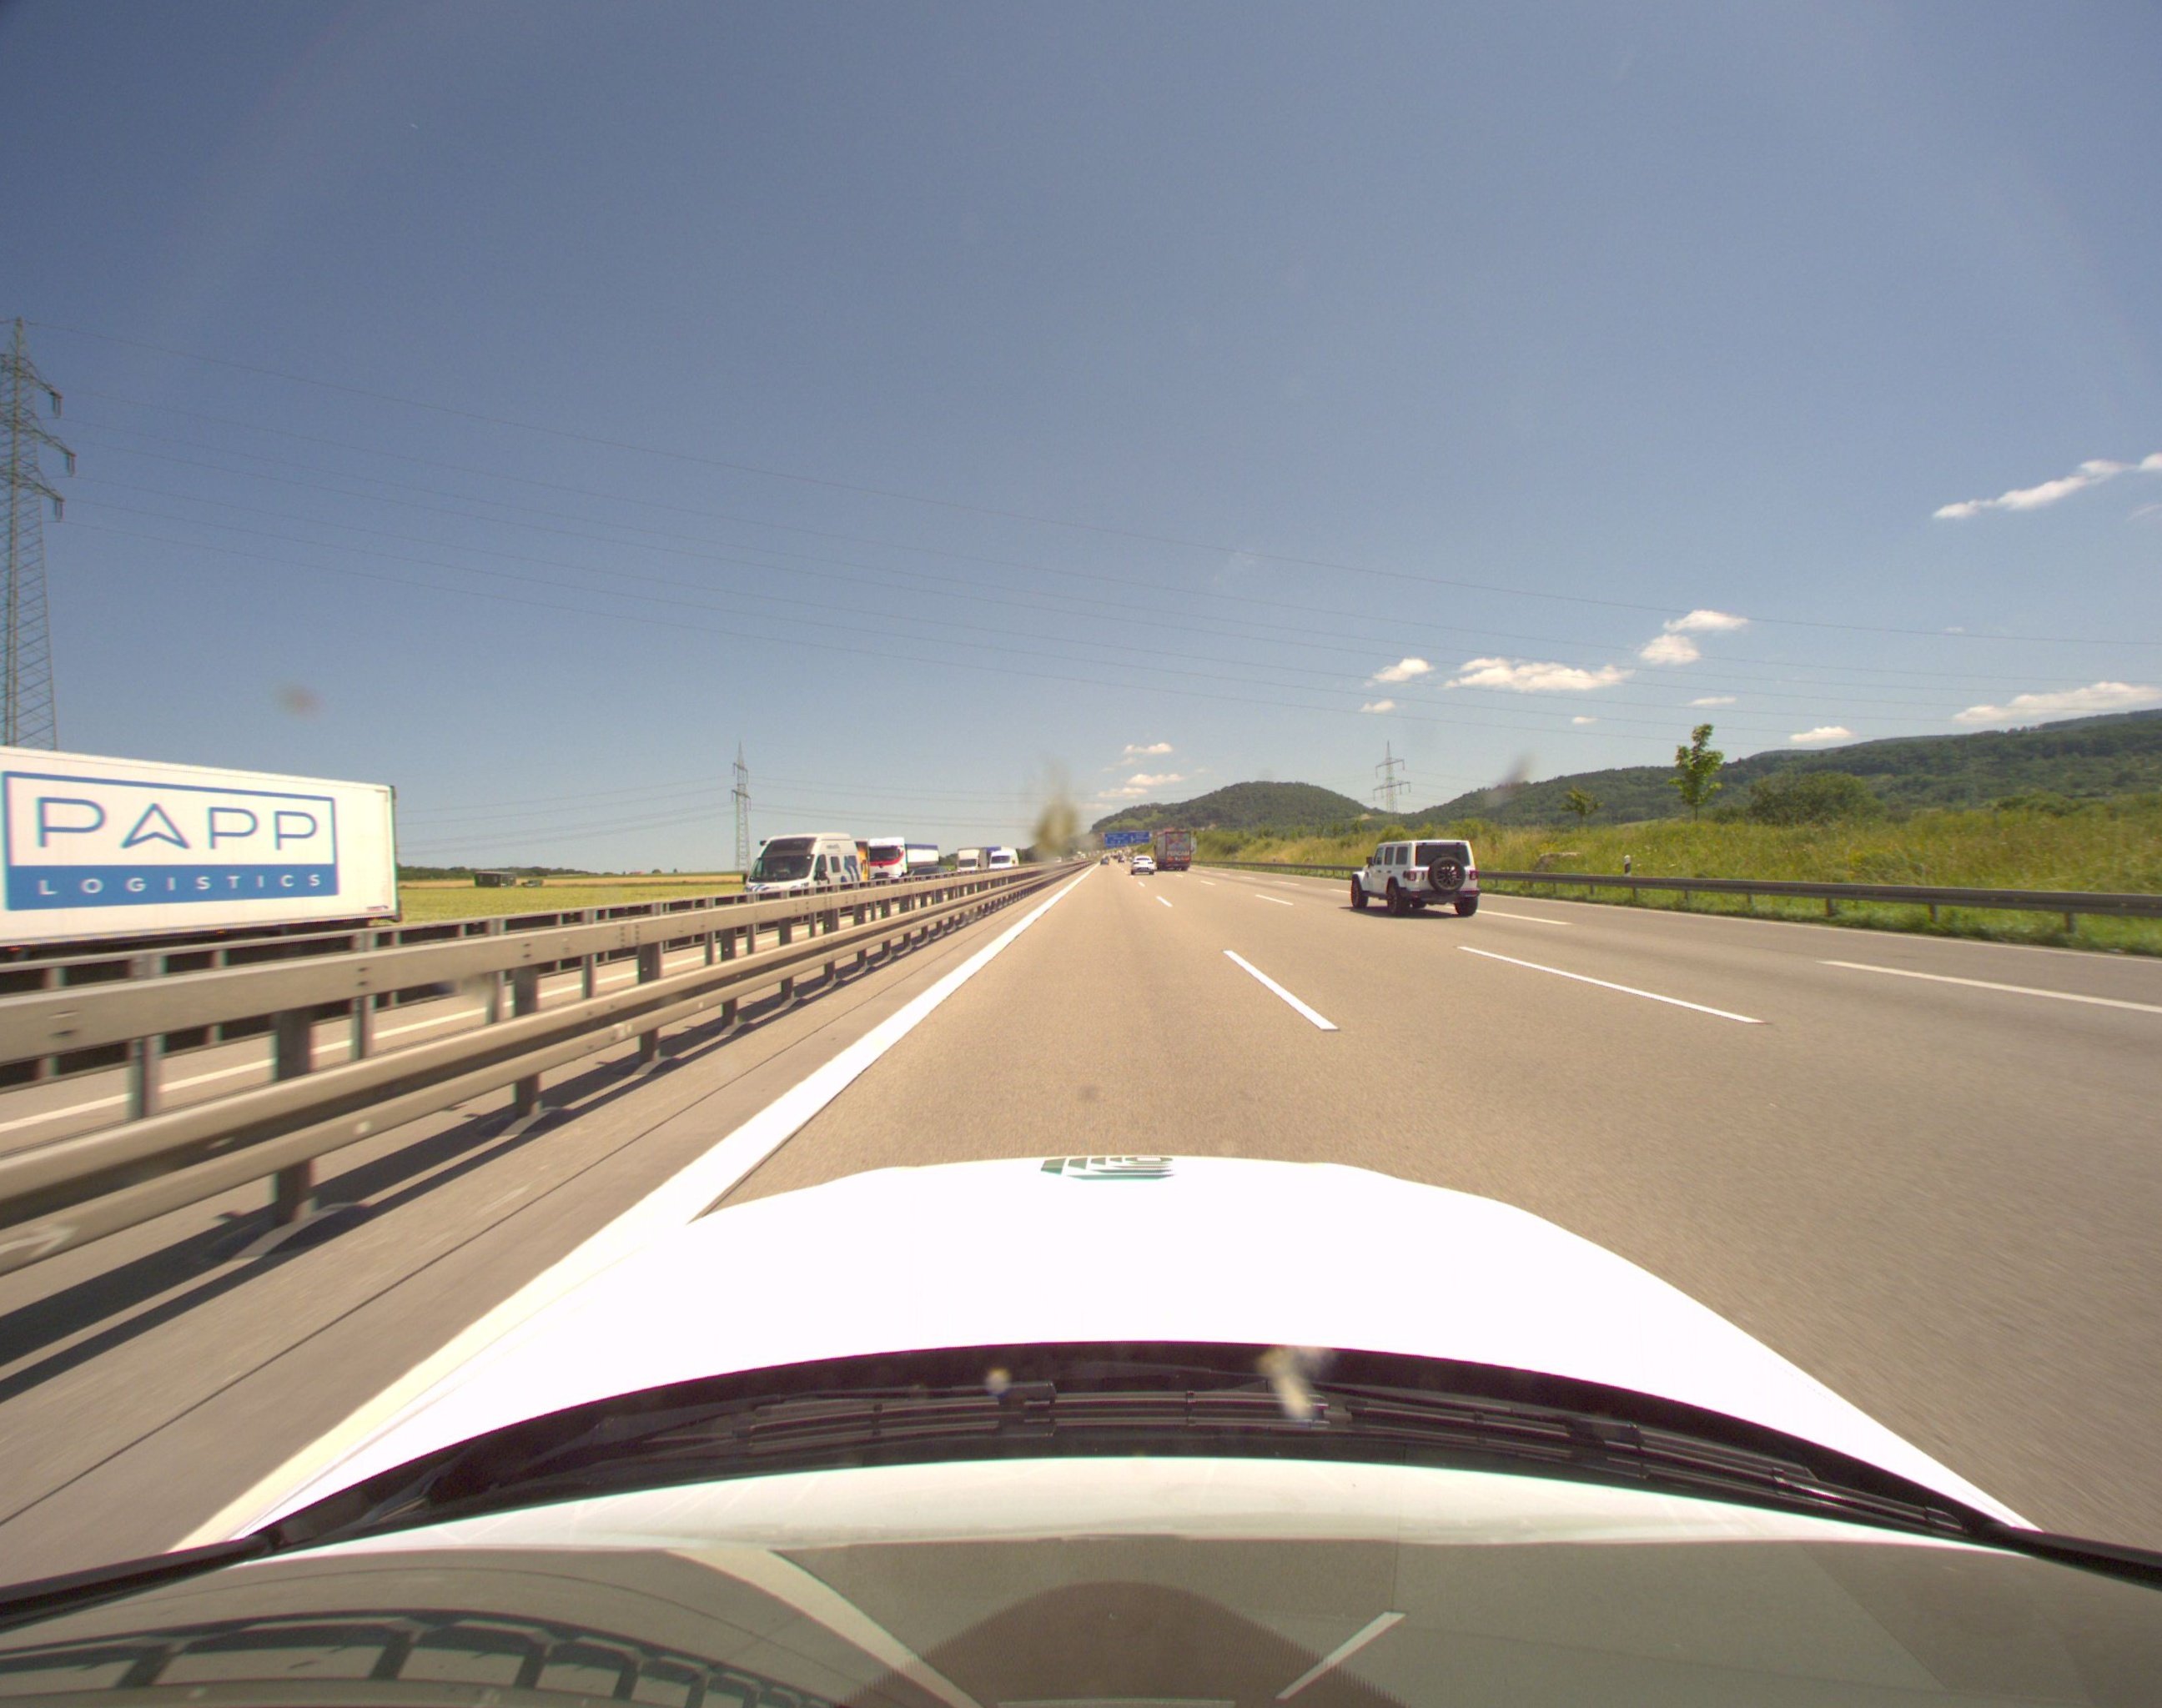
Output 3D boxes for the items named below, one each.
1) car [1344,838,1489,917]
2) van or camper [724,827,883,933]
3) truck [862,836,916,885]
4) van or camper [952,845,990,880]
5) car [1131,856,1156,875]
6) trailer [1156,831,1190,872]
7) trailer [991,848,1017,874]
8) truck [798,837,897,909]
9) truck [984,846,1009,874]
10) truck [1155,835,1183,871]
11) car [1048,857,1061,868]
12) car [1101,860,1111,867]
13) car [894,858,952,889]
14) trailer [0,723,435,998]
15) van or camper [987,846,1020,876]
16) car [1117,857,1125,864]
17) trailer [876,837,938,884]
[{"bbox_3d":[8.441,0.539,20.925,2.027,1.804,4.251,-1,0,1],"label":"car"},{"bbox_3d":[-8.376,0.713,25.580,2.150,2.735,7.298,-3,0,2],"label":"van or camper"},{"bbox_3d":[-15.107,0.554,64.463,2.708,3.690,6.057,-1,-1,1],"label":"truck"},{"bbox_3d":[-10.579,0.812,79.162,2.331,3.165,7.404,-3,-1,2],"label":"van or camper"},{"bbox_3d":[5.321,0.961,70.162,1.907,1.581,5.232,-1,-1,1],"label":"car"},{"bbox_3d":[9.821,-0.181,87.966,2.715,4.155,11.813,-1,-1,2],"label":"trailer"},{"bbox_3d":[-12.537,1.135,133.831,2.822,4.046,11.668,-1,-1,1],"label":"trailer"},{"bbox_3d":[-10.696,0.864,38.039,2.241,3.010,7.430,-1,-1,2],"label":"truck"},{"bbox_3d":[-12.800,0.994,124.215,2.810,4.090,7.533,-1,-1,1],"label":"truck"},{"bbox_3d":[10.064,-0.090,94.017,2.741,4.020,6.792,-1,-1,2],"label":"truck"},{"bbox_3d":[-5.059,1.580,155.860,1.977,2.010,4.650,-4,0,2],"label":"car"},{"bbox_3d":[4.939,1.841,160.252,1.986,1.389,4.002,-1,-1,2],"label":"car"},{"bbox_3d":[-7.754,0.919,40.347,1.761,1.421,4.936,-1,-1,2],"label":"car"},{"bbox_3d":[-16.829,0.120,12.713,2.947,3.918,12.896,-1,-1,1],"label":"trailer"},{"bbox_3d":[-6.868,0.652,72.607,2.115,2.575,6.124,-1,-1,2],"label":"van or camper"},{"bbox_3d":[10.746,1.716,217.862,1.986,2.014,4.002,-1,-1,2],"label":"car"},{"bbox_3d":[-14.931,0.596,71.035,2.697,3.693,11.362,-1,-1,1],"label":"trailer"}]
